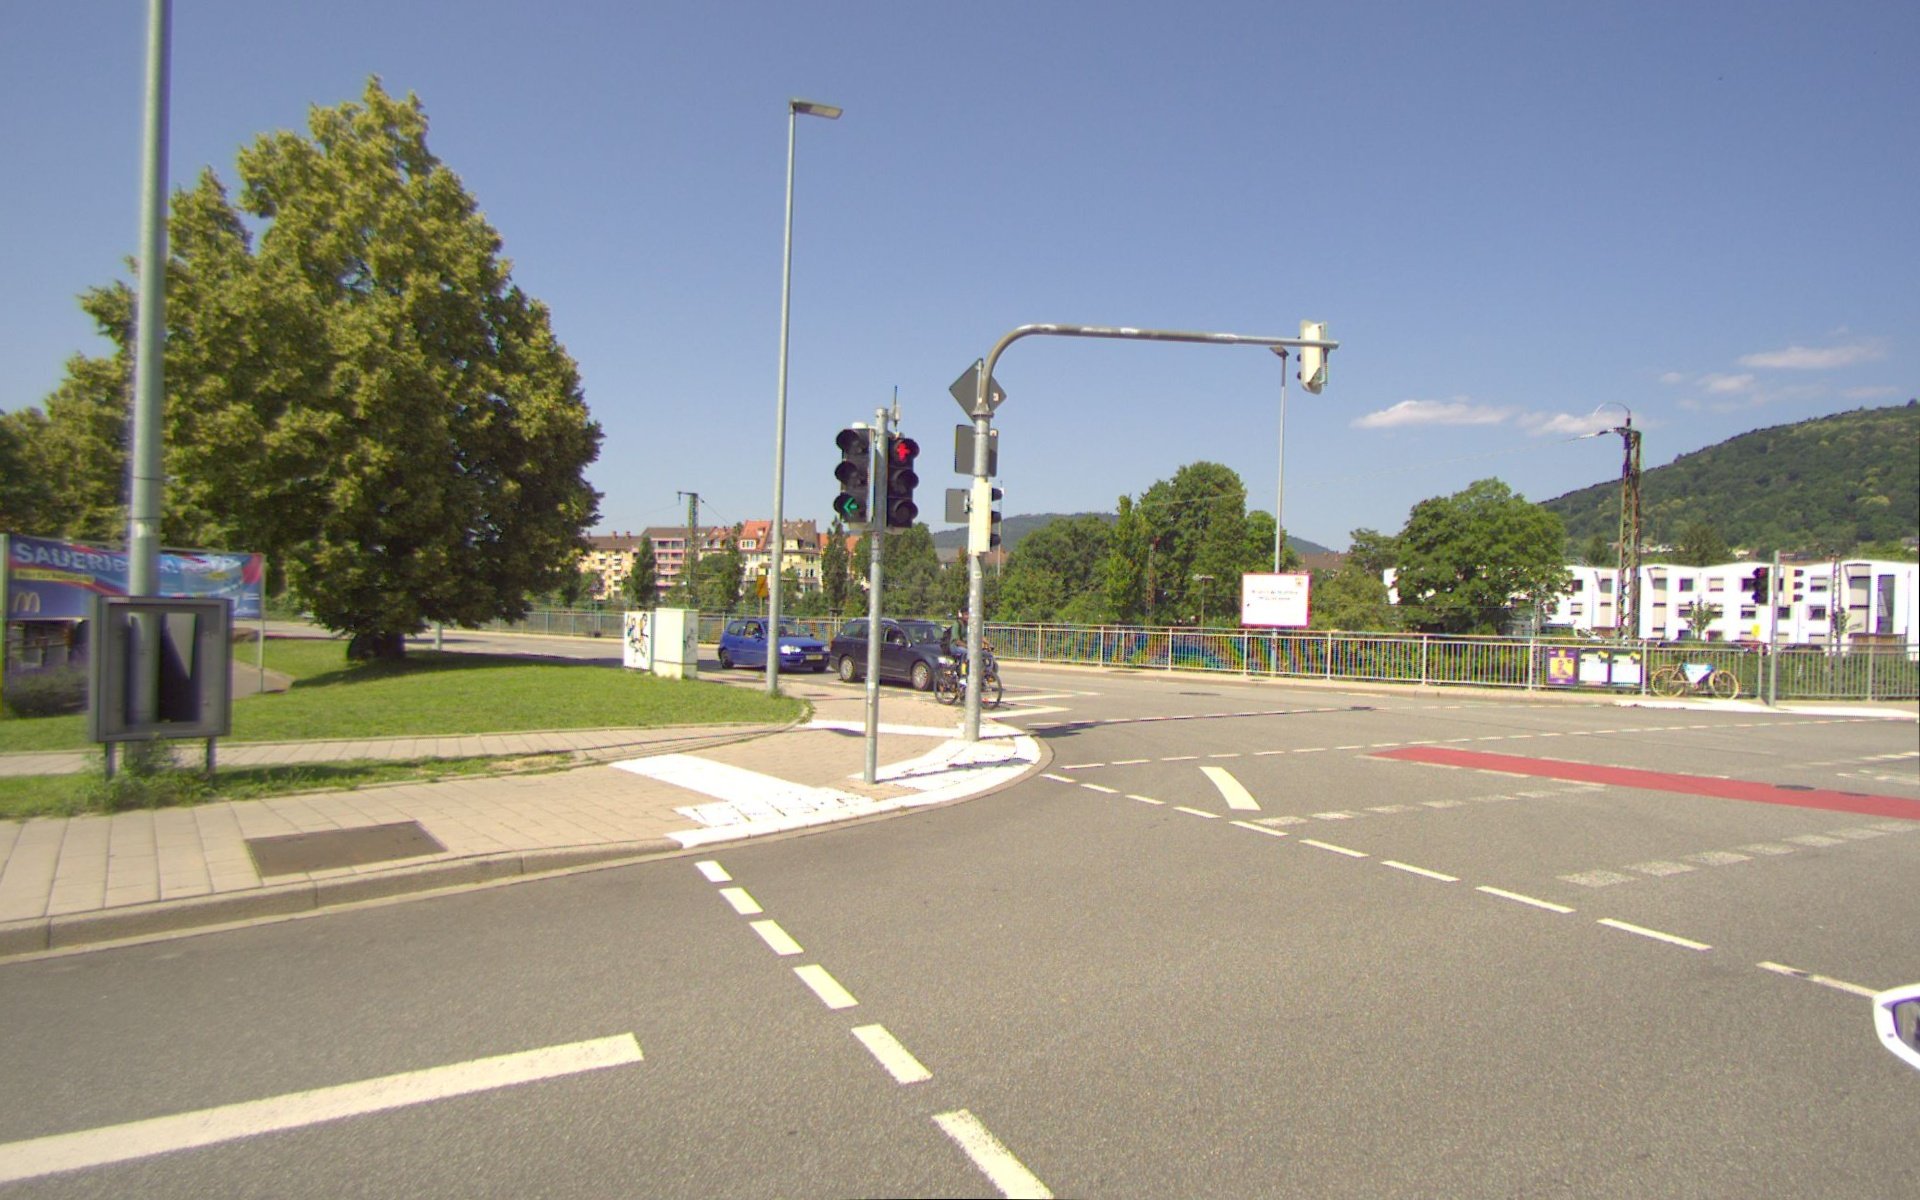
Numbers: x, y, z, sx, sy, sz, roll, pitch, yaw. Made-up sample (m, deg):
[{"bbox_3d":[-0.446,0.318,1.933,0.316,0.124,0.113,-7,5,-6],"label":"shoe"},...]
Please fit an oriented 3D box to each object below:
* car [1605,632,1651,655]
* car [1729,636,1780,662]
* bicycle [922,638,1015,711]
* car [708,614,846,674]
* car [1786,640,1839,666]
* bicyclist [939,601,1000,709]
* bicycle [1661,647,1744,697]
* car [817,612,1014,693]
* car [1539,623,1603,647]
[{"bbox_3d":[64.723,4.203,97.309,4.418,2.040,1.984,2,0,-30],"label":"car"},{"bbox_3d":[68.558,4.222,86.647,4.418,2.040,1.984,2,0,-30],"label":"car"},{"bbox_3d":[0.122,1.271,17.607,0.693,1.119,1.735,0,1,-39],"label":"bicycle"},{"bbox_3d":[-4.916,1.116,26.660,3.946,1.399,1.651,1,0,45],"label":"car"},{"bbox_3d":[70.471,4.365,83.027,4.418,2.040,1.984,2,0,-30],"label":"car"},{"bbox_3d":[0.158,0.930,17.553,0.706,1.813,0.800,0,1,-39],"label":"bicyclist"},{"bbox_3d":[17.548,1.694,23.748,1.587,1.115,0.298,1,0,11],"label":"bicycle"},{"bbox_3d":[-1.099,1.090,22.399,1.773,1.516,4.662,2,0,-43],"label":"car"},{"bbox_3d":[58.472,3.314,96.223,4.921,2.141,1.988,1,0,44],"label":"car"}]
